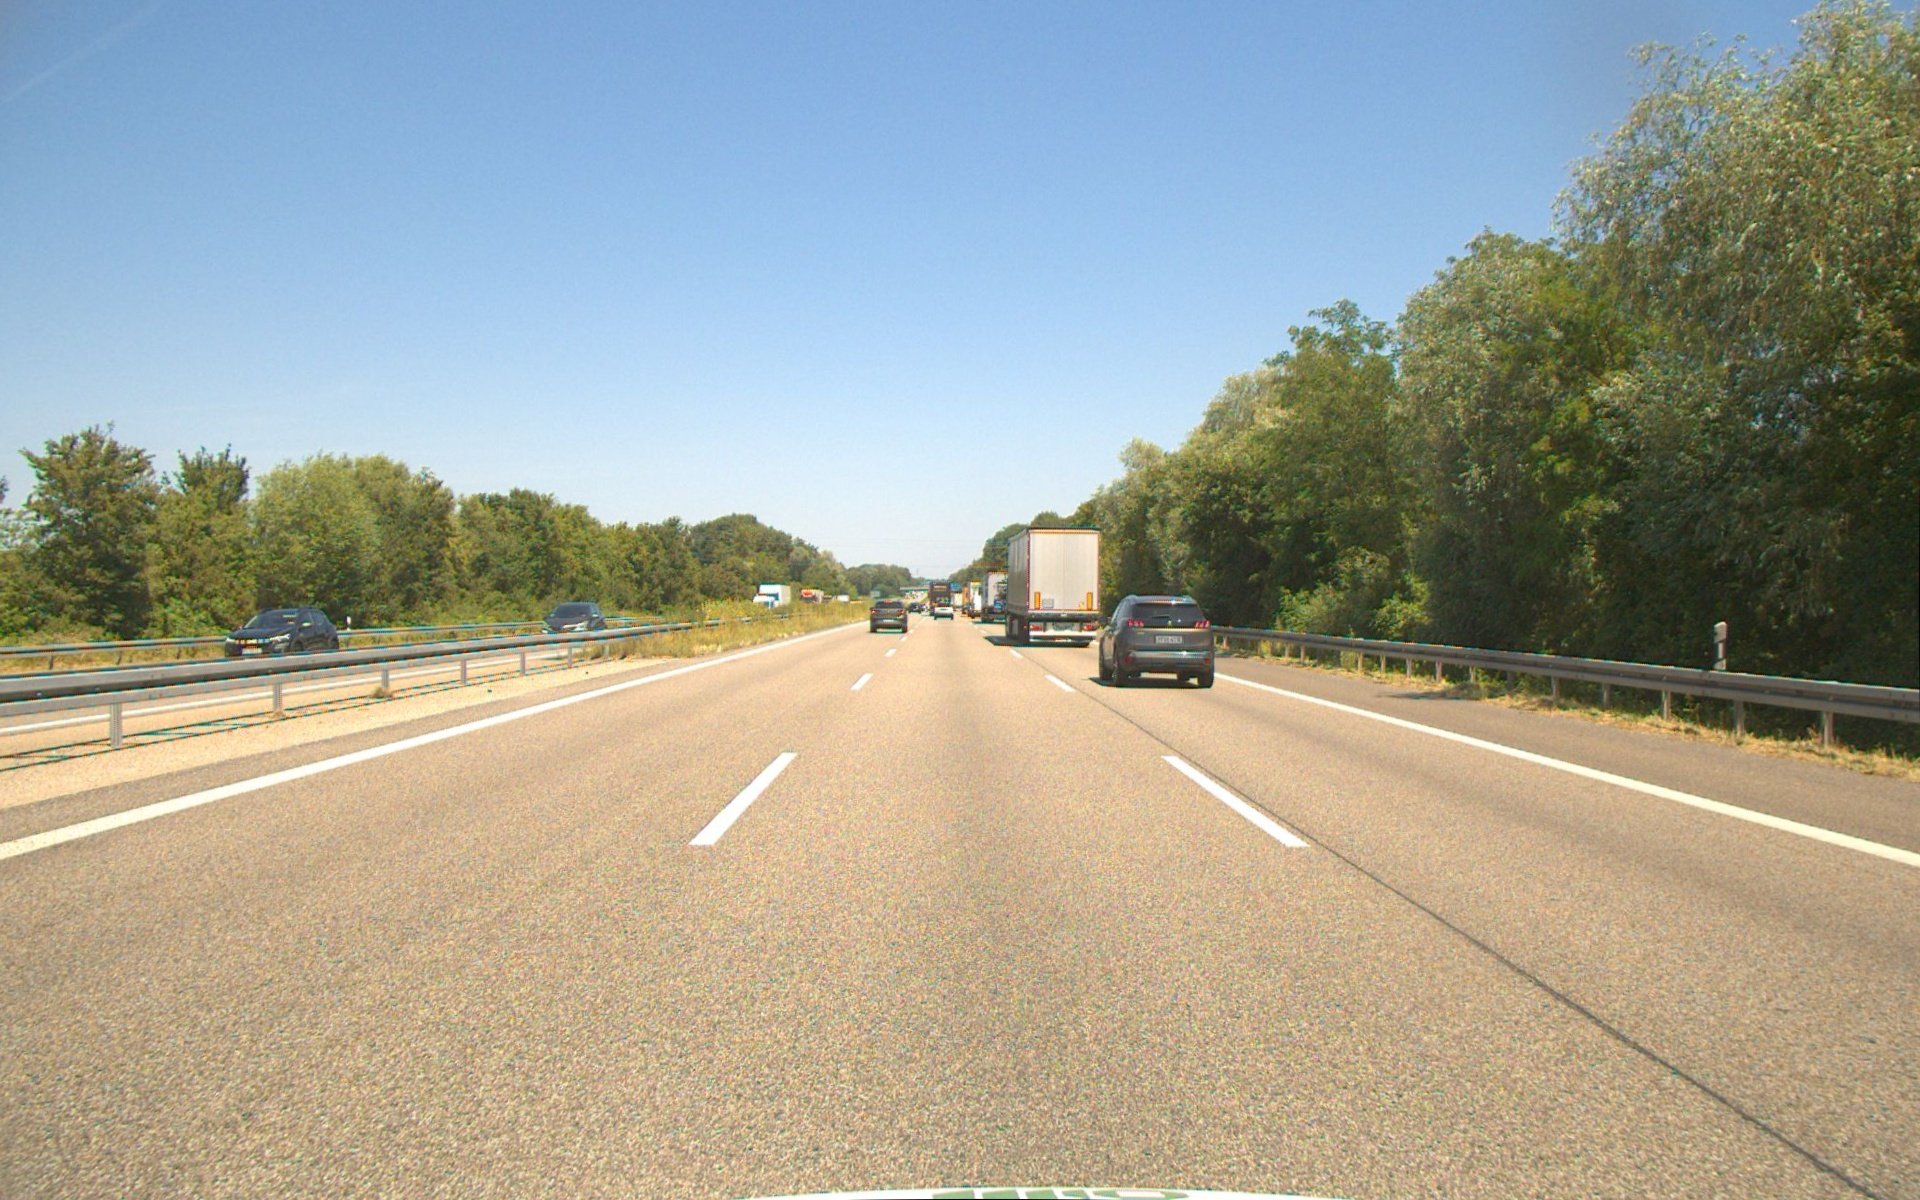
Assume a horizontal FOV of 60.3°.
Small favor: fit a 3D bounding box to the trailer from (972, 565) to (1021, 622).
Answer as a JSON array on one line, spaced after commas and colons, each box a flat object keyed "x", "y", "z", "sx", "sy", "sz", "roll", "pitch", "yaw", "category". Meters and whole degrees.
[{"x": 2.630, "y": -0.520, "z": 122.369, "sx": 3.059, "sy": 3.995, "sz": 9.934, "roll": 1, "pitch": 1, "yaw": -2, "category": "trailer"}]

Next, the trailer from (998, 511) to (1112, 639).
[{"x": 3.369, "y": -0.840, "z": 62.579, "sx": 3.364, "sy": 4.254, "sz": 13.630, "roll": 1, "pitch": 0, "yaw": 0, "category": "trailer"}]

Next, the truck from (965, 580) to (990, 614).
[{"x": 1.992, "y": -0.400, "z": 188.918, "sx": 2.735, "sy": 3.791, "sz": 7.109, "roll": 1, "pitch": 1, "yaw": 1, "category": "truck"}]

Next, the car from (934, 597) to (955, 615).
[{"x": -1.396, "y": 0.532, "z": 148.855, "sx": 1.862, "sy": 1.557, "sz": 4.083, "roll": 1, "pitch": 1, "yaw": -1, "category": "car"}]

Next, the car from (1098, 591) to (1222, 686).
[{"x": 3.700, "y": 0.676, "z": 31.221, "sx": 1.807, "sy": 1.657, "sz": 4.134, "roll": 0, "pitch": 0, "yaw": 0, "category": "car"}]

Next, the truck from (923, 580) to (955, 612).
[{"x": -2.456, "y": -0.519, "z": 197.671, "sx": 3.592, "sy": 3.791, "sz": 7.109, "roll": 1, "pitch": 1, "yaw": 0, "category": "truck"}]

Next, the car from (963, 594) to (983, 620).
[{"x": 1.290, "y": 0.675, "z": 164.963, "sx": 1.869, "sy": 2.467, "sz": 4.285, "roll": 1, "pitch": 1, "yaw": -1, "category": "car"}]

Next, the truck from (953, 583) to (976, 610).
[{"x": 0.697, "y": -0.587, "z": 244.335, "sx": 3.417, "sy": 3.791, "sz": 7.109, "roll": 1, "pitch": 1, "yaw": 0, "category": "truck"}]

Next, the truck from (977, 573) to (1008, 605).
[{"x": 3.872, "y": -1.331, "z": 197.937, "sx": 3.592, "sy": 3.791, "sz": 7.109, "roll": 1, "pitch": 1, "yaw": 0, "category": "truck"}]

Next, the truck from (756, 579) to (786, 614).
[{"x": -23.154, "y": -0.476, "z": 202.578, "sx": 3.009, "sy": 4.183, "sz": 6.524, "roll": 1, "pitch": 1, "yaw": -1, "category": "truck"}]

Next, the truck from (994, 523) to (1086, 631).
[{"x": 3.263, "y": -0.886, "z": 69.342, "sx": 3.393, "sy": 4.250, "sz": 6.843, "roll": 1, "pitch": -1, "yaw": -1, "category": "truck"}]

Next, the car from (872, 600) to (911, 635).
[{"x": -3.313, "y": 0.815, "z": 80.167, "sx": 1.723, "sy": 1.557, "sz": 4.285, "roll": 1, "pitch": 1, "yaw": -1, "category": "car"}]

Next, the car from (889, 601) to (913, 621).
[{"x": -4.956, "y": 0.932, "z": 139.536, "sx": 1.862, "sy": 1.557, "sz": 4.083, "roll": 1, "pitch": 1, "yaw": -1, "category": "car"}]

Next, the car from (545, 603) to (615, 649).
[{"x": -13.024, "y": 0.866, "z": 56.931, "sx": 1.521, "sy": 1.488, "sz": 4.045, "roll": -1, "pitch": 0, "yaw": -1, "category": "car"}]

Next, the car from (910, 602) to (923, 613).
[{"x": -6.709, "y": 1.139, "z": 253.531, "sx": 1.869, "sy": 1.557, "sz": 4.285, "roll": 1, "pitch": 1, "yaw": -1, "category": "car"}]

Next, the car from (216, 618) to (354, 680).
[{"x": -17.682, "y": 1.245, "z": 43.568, "sx": 1.825, "sy": 1.426, "sz": 4.530, "roll": -2, "pitch": 0, "yaw": -1, "category": "car"}]
